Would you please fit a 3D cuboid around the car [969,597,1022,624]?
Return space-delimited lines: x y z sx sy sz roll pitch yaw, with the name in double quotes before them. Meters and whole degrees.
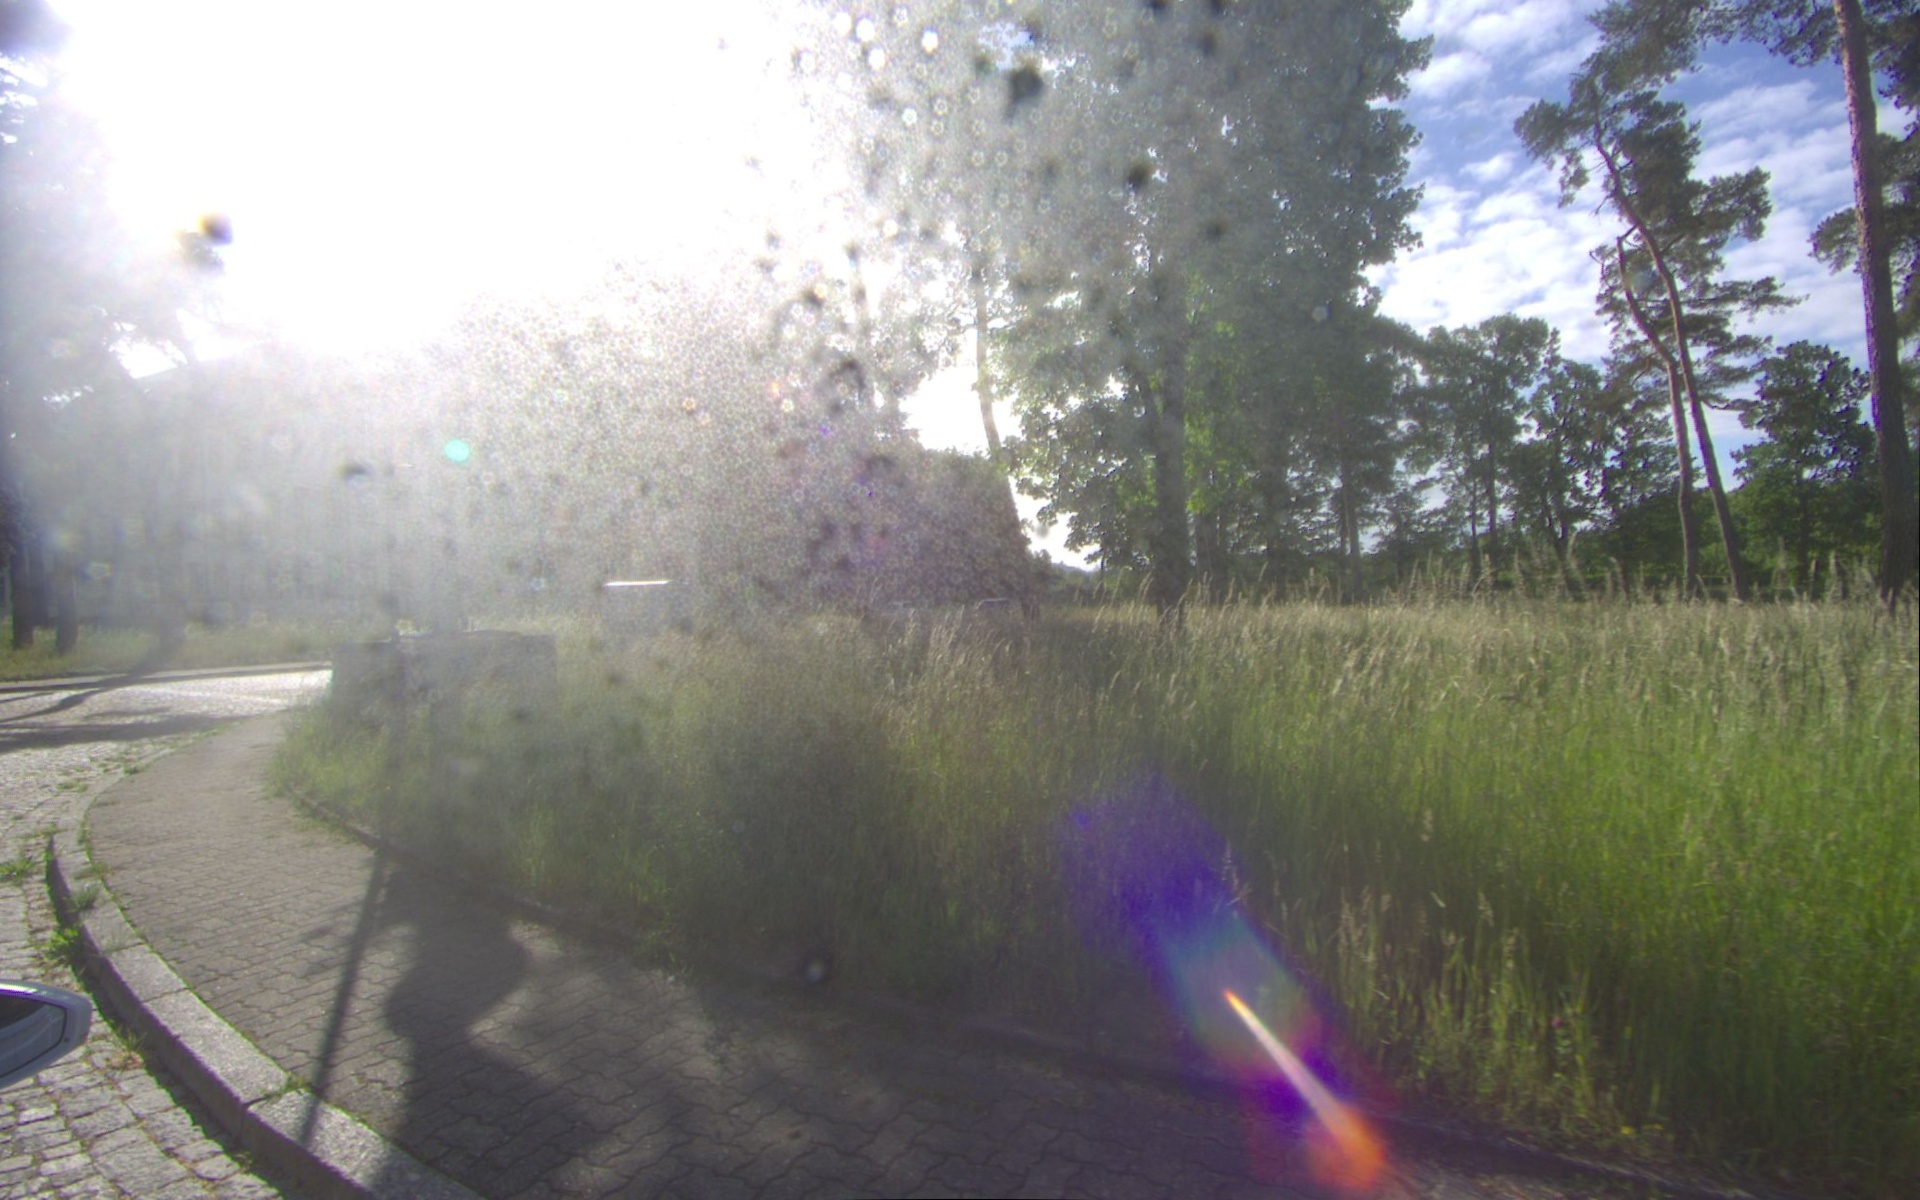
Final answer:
"car" 2.264 0.628 63.206 1.826 1.620 3.984 0 0 27

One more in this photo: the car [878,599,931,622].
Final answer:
"car" -3.732 0.687 67.549 1.818 1.483 3.984 0 0 27
